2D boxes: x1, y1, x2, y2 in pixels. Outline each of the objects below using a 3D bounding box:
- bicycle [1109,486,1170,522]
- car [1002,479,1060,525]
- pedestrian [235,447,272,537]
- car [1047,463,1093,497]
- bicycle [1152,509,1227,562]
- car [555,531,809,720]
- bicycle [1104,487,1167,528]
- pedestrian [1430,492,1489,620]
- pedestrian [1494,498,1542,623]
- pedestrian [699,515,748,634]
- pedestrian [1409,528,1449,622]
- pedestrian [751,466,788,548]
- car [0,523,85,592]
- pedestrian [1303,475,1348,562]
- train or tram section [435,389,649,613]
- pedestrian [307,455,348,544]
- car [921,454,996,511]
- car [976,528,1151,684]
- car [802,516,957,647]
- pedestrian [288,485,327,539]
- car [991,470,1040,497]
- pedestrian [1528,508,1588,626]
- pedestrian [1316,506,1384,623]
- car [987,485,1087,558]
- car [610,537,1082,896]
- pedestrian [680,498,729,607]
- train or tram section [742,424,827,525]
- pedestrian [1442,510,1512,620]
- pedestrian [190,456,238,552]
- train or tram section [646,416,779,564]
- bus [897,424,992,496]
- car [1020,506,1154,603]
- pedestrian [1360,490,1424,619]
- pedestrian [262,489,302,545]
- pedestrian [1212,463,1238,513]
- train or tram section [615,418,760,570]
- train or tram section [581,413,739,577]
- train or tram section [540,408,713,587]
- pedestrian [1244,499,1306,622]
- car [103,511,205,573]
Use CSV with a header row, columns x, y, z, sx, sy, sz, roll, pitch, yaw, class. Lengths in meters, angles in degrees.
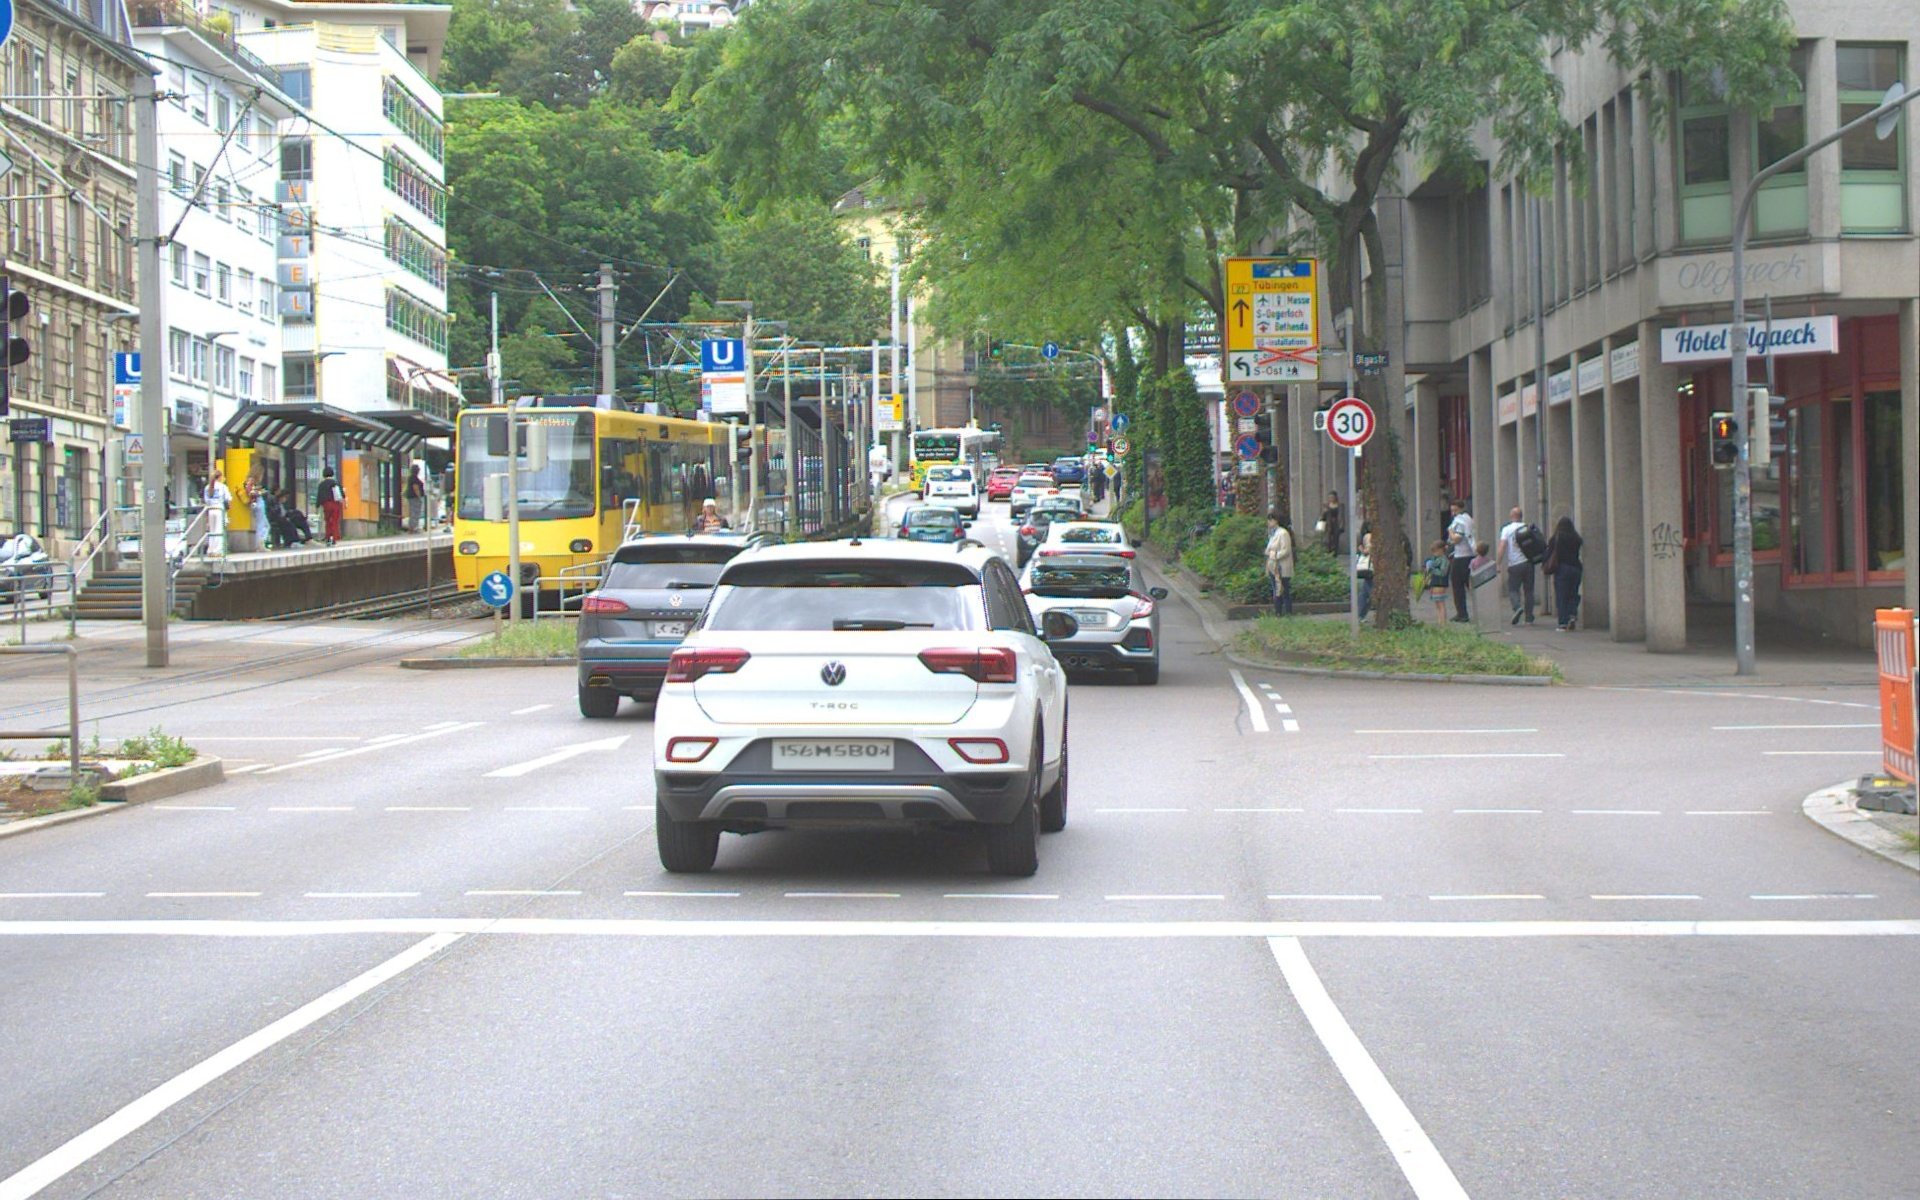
x,y,z,sx,sy,sz,roll,pitch,yaw,class
5.763,-3.081,110.401,1.881,1.133,0.808,1,1,7,bicycle
2.708,-3.740,131.287,1.884,1.678,4.162,1,1,-3,car
-13.538,-2.073,65.886,0.635,1.705,0.690,-1,2,-7,pedestrian
5.657,-6.138,176.157,1.885,1.678,4.160,1,1,8,car
5.146,-1.448,76.969,1.620,1.124,0.613,-2,2,5,bicycle
-2.489,0.194,31.701,1.993,1.630,4.000,0,1,0,car
5.562,-2.922,108.917,1.882,1.262,0.764,1,1,12,bicycle
7.313,-0.645,50.345,0.733,1.868,0.733,0,1,-3,pedestrian
8.020,-0.573,49.435,0.518,1.783,0.764,1,1,-3,pedestrian
-3.446,-0.375,50.187,0.635,1.705,0.871,0,2,1,pedestrian
6.665,-0.354,48.864,0.471,1.329,0.520,1,1,-3,pedestrian
-4.029,-1.964,72.750,0.718,1.725,0.670,1,1,3,pedestrian
-19.660,-0.871,71.433,1.632,1.370,3.783,-2,1,5,car
7.740,-1.725,72.830,0.762,1.776,0.848,-2,4,-4,pedestrian
-7.141,-1.731,59.471,2.835,3.666,5.752,1,2,2,train or tram section
-12.628,-2.001,68.680,0.627,1.756,0.846,0,1,2,pedestrian
-0.026,-4.339,127.178,2.365,2.007,5.147,1,1,4,car
1.154,0.033,39.526,1.885,1.678,4.161,1,1,1,car
-1.116,-0.305,49.479,1.912,1.683,4.000,1,3,3,car
-13.355,-1.808,70.397,0.635,1.103,0.690,0,2,1,pedestrian
2.502,-5.220,154.386,1.583,1.168,3.677,1,1,11,car
8.378,-0.462,48.159,0.762,1.606,0.618,-1,4,13,pedestrian
5.811,-0.540,51.283,0.835,1.698,0.764,-2,2,-3,pedestrian
2.155,-2.219,97.770,2.364,2.007,5.149,1,1,-4,car
-0.435,0.491,17.265,1.838,1.578,4.156,0,1,6,car
-4.039,-0.761,54.376,0.685,1.705,0.712,0,2,1,pedestrian
-6.556,-4.718,129.083,2.813,3.653,6.752,1,2,0,train or tram section
7.427,-0.509,49.418,0.835,1.557,0.764,1,1,-3,pedestrian
-13.414,-1.726,61.810,0.688,1.705,0.662,0,2,0,pedestrian
-6.312,-2.834,88.347,2.813,3.653,5.903,1,2,2,train or tram section
-0.651,-6.562,162.628,3.372,3.054,13.323,1,1,5,bus
2.259,-0.830,62.149,1.884,1.678,4.162,1,1,-5,car
6.252,-0.662,49.750,0.721,1.796,0.835,-3,4,-3,pedestrian
-13.571,-1.668,68.831,0.635,1.103,0.690,0,2,1,pedestrian
8.576,-3.622,111.244,0.635,1.609,0.588,0,1,-19,pedestrian
-6.477,-2.555,82.514,2.835,3.508,5.752,1,2,2,train or tram section
-6.640,-2.355,76.760,2.835,3.508,5.752,1,2,2,train or tram section
-6.826,-2.123,70.984,2.835,3.508,5.752,1,2,2,train or tram section
4.678,-0.591,51.084,0.693,1.771,0.689,-5,1,-3,pedestrian
-20.282,-1.457,86.647,1.559,1.518,3.600,1,1,3,car
